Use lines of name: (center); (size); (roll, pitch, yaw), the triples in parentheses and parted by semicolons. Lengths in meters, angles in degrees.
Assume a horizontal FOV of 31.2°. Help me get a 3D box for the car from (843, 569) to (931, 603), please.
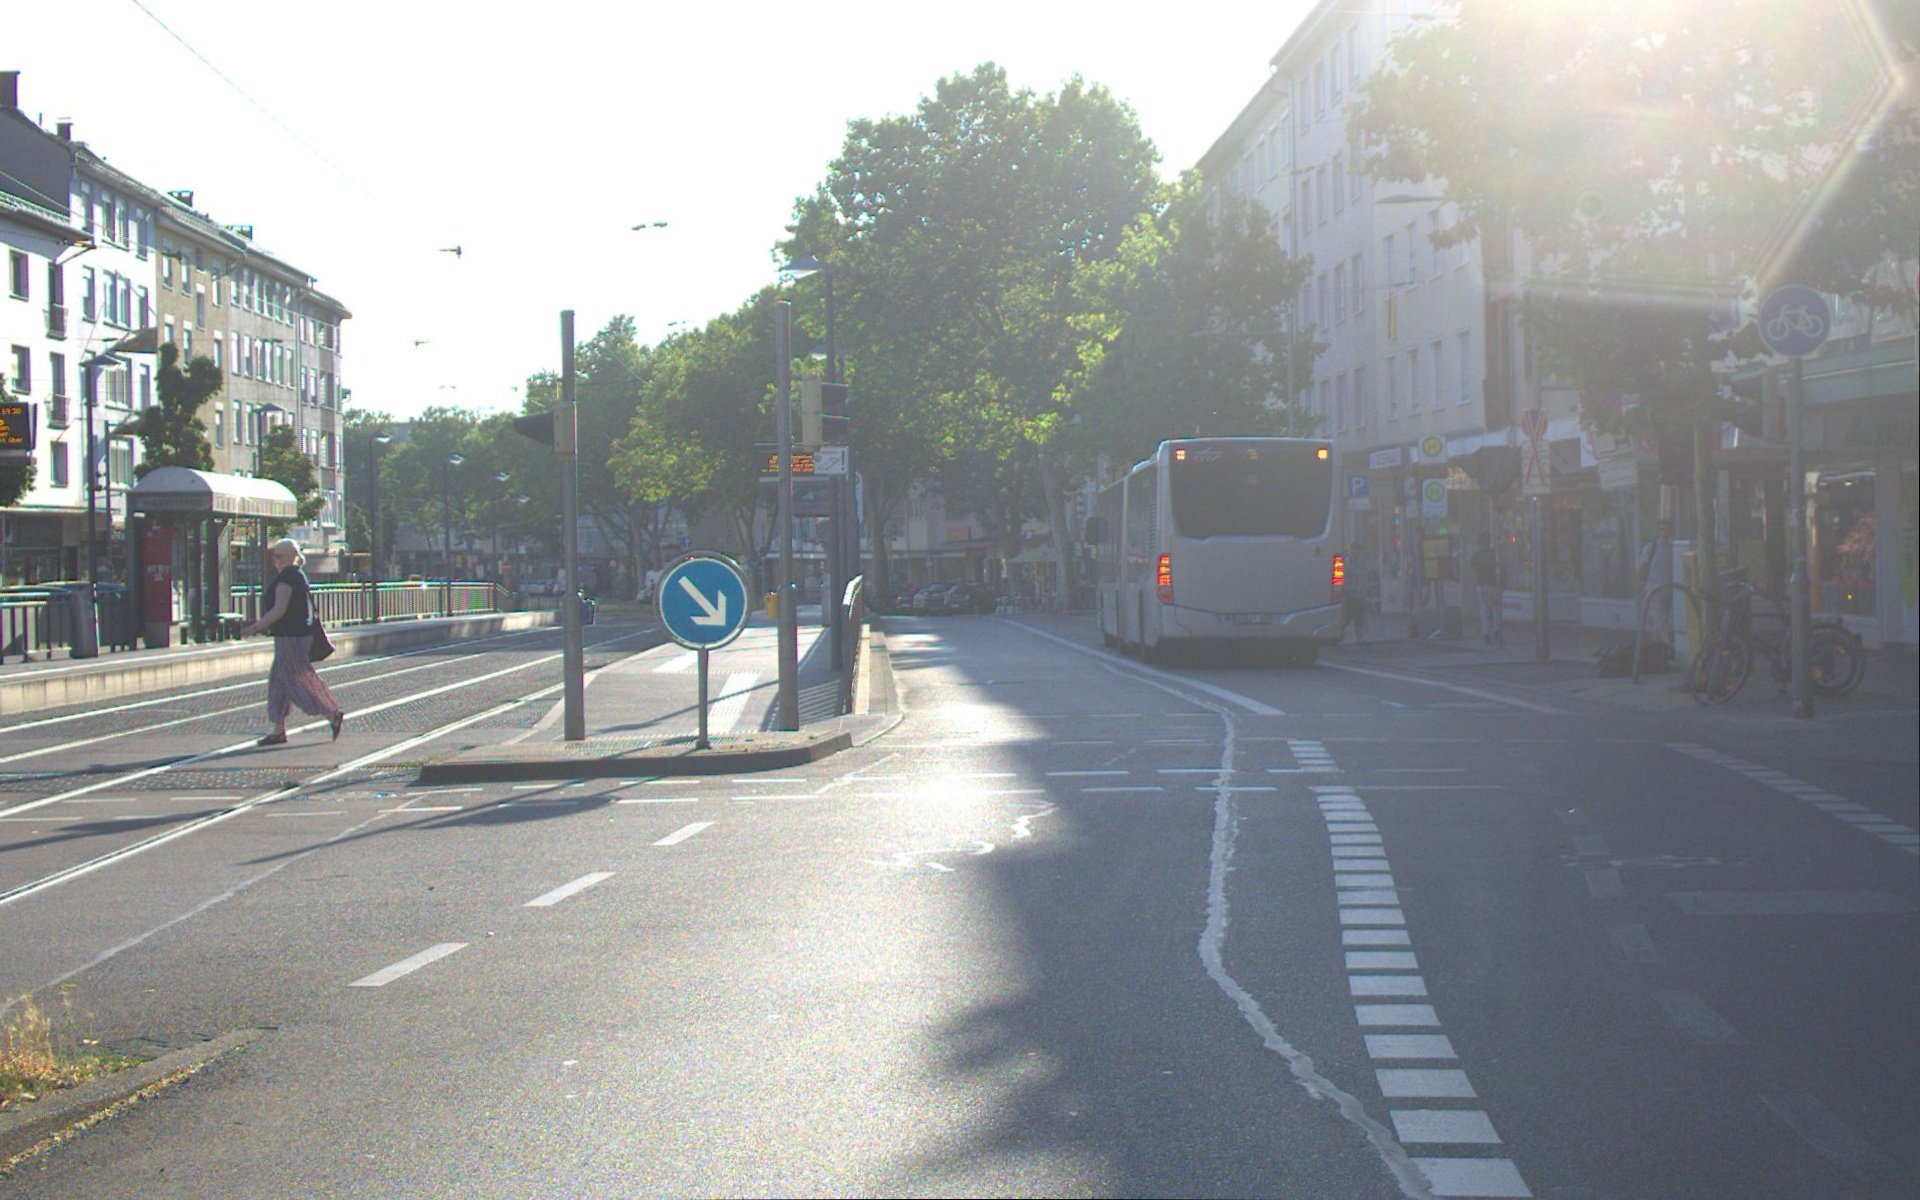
car: (-3.530, -0.681, 166.358); (3.889, 1.591, 1.691); (-2, 1, -29)

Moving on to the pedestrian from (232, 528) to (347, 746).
pedestrian: (-5.664, 0.303, 29.060); (0.680, 1.764, 0.687); (-5, 2, 0)

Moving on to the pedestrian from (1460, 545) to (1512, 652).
pedestrian: (8.068, -0.031, 52.739); (0.676, 1.622, 0.655); (1, 1, 0)

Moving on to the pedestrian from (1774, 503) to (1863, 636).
pedestrian: (13.219, -0.474, 52.936); (0.987, 2.007, 0.929); (-1, 1, -13)

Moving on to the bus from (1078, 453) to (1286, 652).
bus: (3.665, -0.812, 58.889); (2.812, 3.091, 9.095); (1, 1, -1)

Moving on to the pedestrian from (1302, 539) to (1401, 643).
pedestrian: (6.336, -0.151, 55.710); (1.148, 1.654, 1.186); (-1, 1, -21)

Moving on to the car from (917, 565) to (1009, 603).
car: (0.138, -0.773, 161.404); (3.889, 1.693, 1.833); (-2, 1, -29)

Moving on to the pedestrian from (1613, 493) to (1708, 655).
pedestrian: (8.815, -0.331, 43.268); (0.953, 2.007, 0.917); (-1, 1, -2)

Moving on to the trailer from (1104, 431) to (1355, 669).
trailer: (3.760, -0.714, 49.992); (2.812, 3.100, 8.795); (1, 1, -1)

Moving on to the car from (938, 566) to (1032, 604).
car: (1.152, -0.703, 158.678); (3.889, 1.693, 1.833); (-2, 1, -29)

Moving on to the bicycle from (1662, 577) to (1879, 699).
bicycle: (7.373, 0.338, 31.326); (1.772, 1.018, 0.694); (-2, 1, -1)
